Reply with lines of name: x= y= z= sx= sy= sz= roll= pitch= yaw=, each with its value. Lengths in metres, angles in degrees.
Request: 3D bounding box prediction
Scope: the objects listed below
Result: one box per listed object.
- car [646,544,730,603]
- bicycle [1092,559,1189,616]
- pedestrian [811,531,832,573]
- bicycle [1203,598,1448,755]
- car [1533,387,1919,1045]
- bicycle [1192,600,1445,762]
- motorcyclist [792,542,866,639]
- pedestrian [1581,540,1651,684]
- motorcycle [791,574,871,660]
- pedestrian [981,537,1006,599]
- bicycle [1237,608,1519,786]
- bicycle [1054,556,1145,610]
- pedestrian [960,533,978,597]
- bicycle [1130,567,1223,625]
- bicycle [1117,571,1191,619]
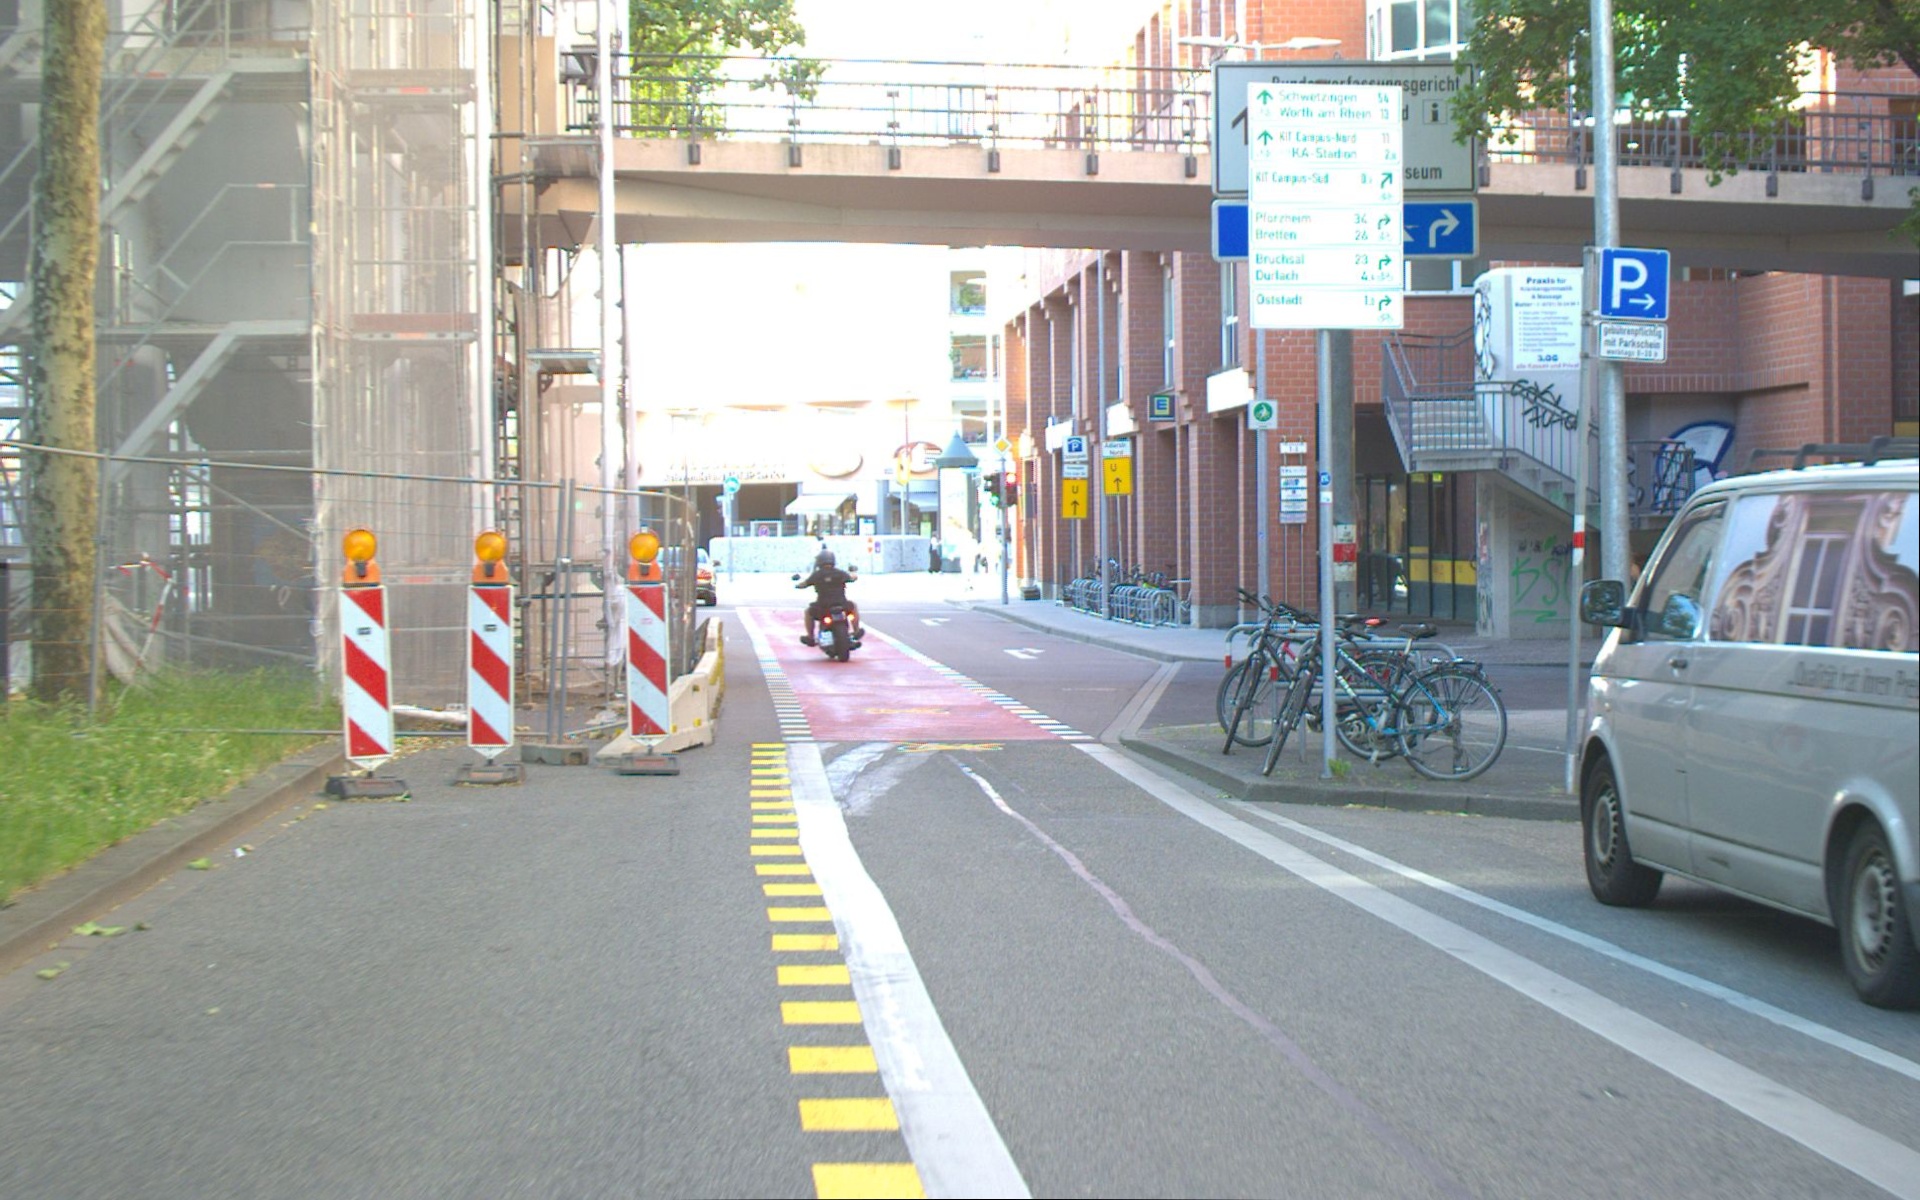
car: x=-6.694 y=-0.665 z=84.386 sx=1.923 sy=1.384 sz=4.001 roll=0 pitch=1 yaw=-6
bicycle: x=3.654 y=-0.255 z=69.680 sx=1.891 sy=1.115 sz=0.550 roll=-1 pitch=1 yaw=-4
pedestrian: x=-5.216 y=-1.807 z=129.533 sx=0.557 sy=1.578 sz=0.539 roll=1 pitch=2 yaw=43
bicycle: x=2.615 y=0.535 z=24.670 sx=1.680 sy=1.064 sz=0.500 roll=1 pitch=1 yaw=30
car: x=3.784 y=0.317 z=13.124 sx=1.918 sy=2.071 sz=5.171 roll=0 pitch=1 yaw=-5
bicycle: x=2.473 y=0.548 z=23.786 sx=1.680 sy=1.064 sz=0.500 roll=1 pitch=1 yaw=30
motorcyclist: x=-1.854 y=-0.138 z=48.622 sx=0.970 sy=1.342 sz=1.138 roll=1 pitch=1 yaw=-5
pedestrian: x=7.447 y=0.128 z=39.040 sx=0.569 sy=1.627 sz=0.778 roll=0 pitch=1 yaw=-5
motorcycle: x=-1.838 y=0.221 z=48.430 sx=0.973 sy=1.128 sz=2.805 roll=1 pitch=1 yaw=-5
pedestrian: x=0.940 y=-0.904 z=96.264 sx=0.633 sy=1.719 sz=0.630 roll=0 pitch=1 yaw=-4
bicycle: x=2.621 y=0.595 z=21.553 sx=1.679 sy=1.064 sz=0.511 roll=1 pitch=1 yaw=19
bicycle: x=2.997 y=-0.374 z=73.725 sx=1.891 sy=1.115 sz=0.475 roll=-1 pitch=1 yaw=-4
pedestrian: x=0.251 y=-0.981 z=96.687 sx=0.475 sy=1.786 sz=0.541 roll=0 pitch=1 yaw=-4
bicycle: x=3.951 y=-0.075 z=62.779 sx=1.611 sy=0.951 sz=0.555 roll=-3 pitch=1 yaw=-2
bicycle: x=3.689 y=-0.092 z=65.520 sx=1.334 sy=0.838 sz=0.425 roll=-3 pitch=1 yaw=-2
